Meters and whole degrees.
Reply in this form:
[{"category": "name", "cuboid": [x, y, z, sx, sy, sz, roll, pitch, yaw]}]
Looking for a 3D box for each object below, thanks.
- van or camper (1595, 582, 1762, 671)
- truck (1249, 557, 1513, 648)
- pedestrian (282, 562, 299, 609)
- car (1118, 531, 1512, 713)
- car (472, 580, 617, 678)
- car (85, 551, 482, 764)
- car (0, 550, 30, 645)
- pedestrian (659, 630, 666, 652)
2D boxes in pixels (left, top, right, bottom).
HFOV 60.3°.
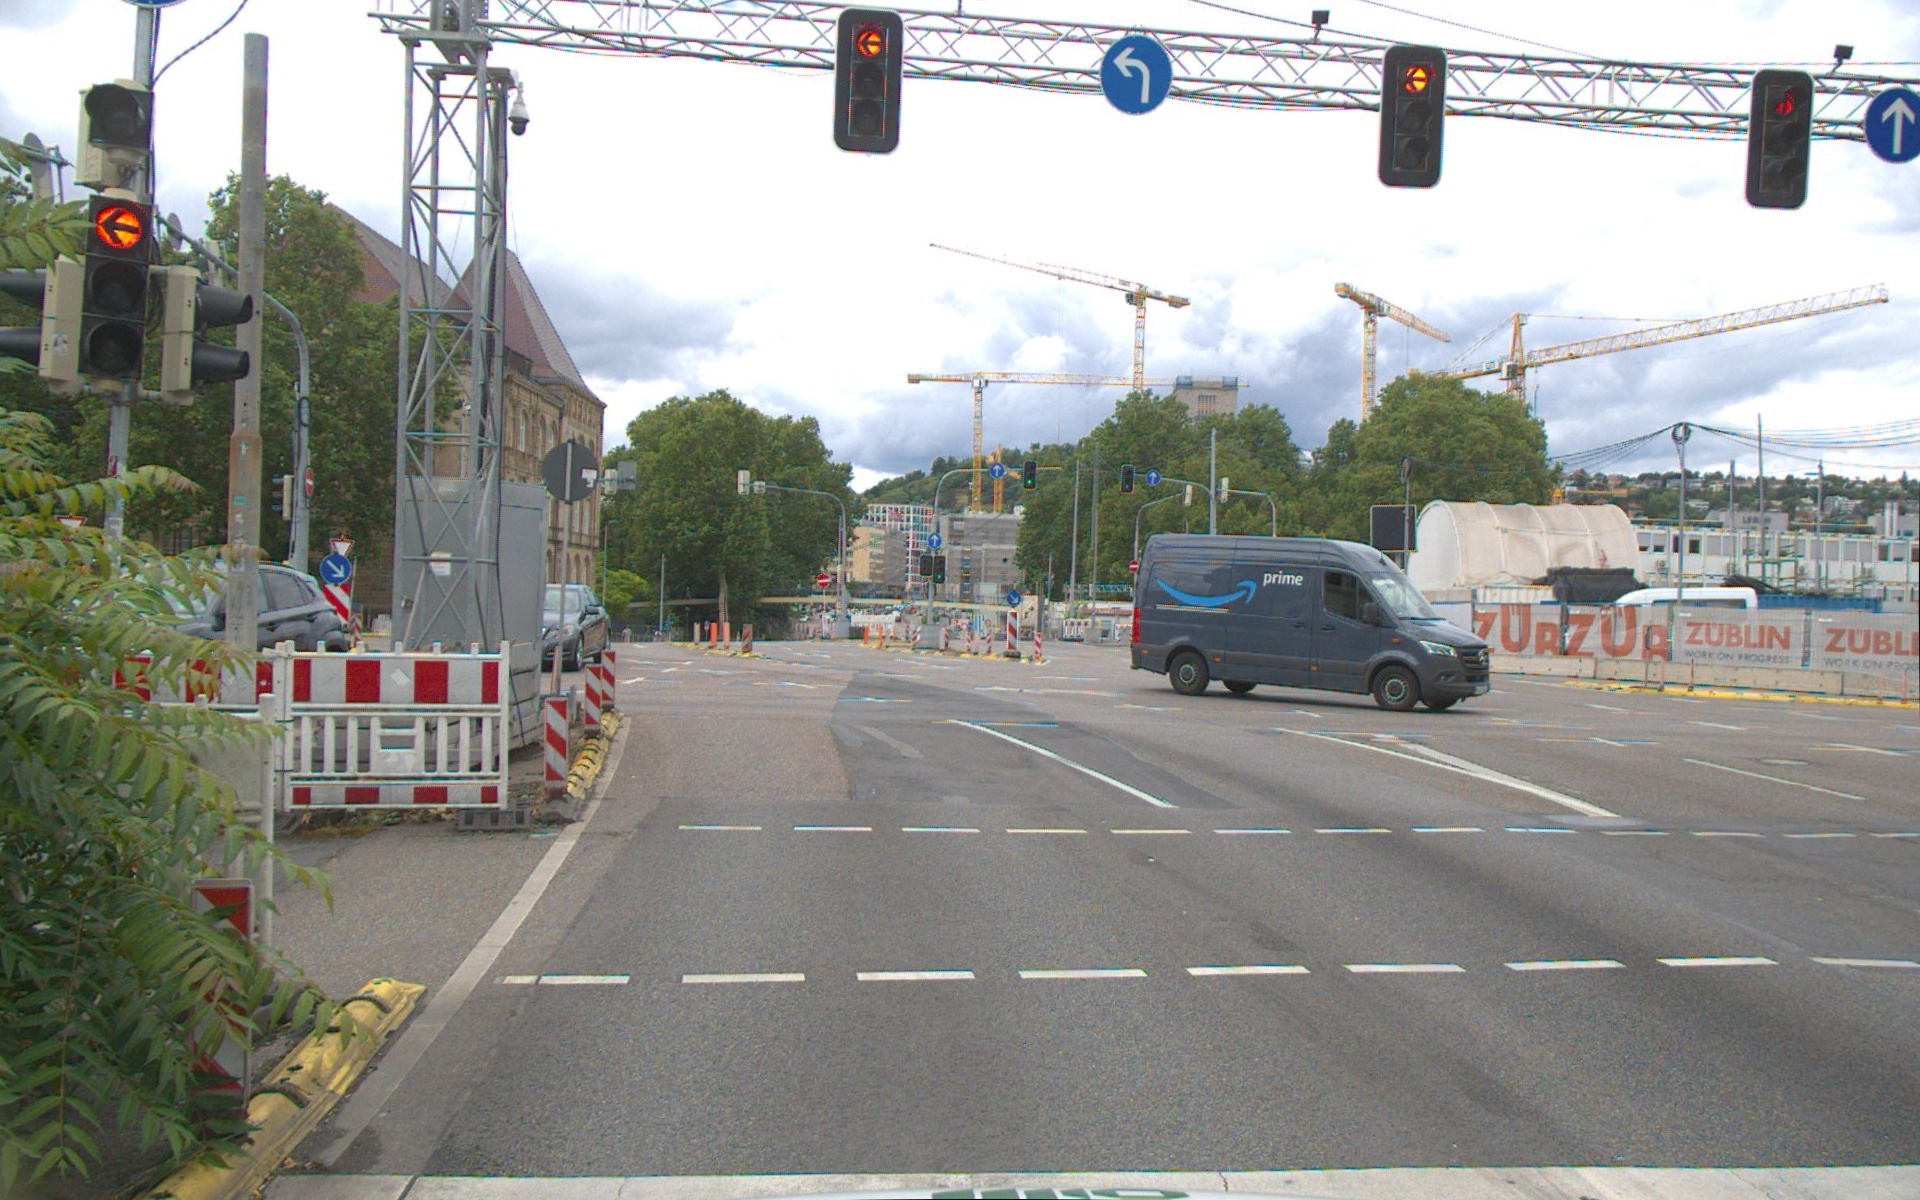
[{"category": "van or camper", "cuboid": [20.732, 0.744, 47.907, 4.123, 2.398, 2.002, 1, 0, 14]}, {"category": "truck", "cuboid": [20.993, 0.159, 82.316, 12.837, 4.111, 3.927, 1, 0, -21]}, {"category": "pedestrian", "cuboid": [-29.444, -0.618, 72.766, 0.523, 2.049, 0.421, 2, 0, -44]}, {"category": "car", "cuboid": [5.595, 0.255, 26.674, 5.900, 2.639, 2.054, 2, 0, 39]}, {"category": "car", "cuboid": [-7.162, 0.462, 28.880, 1.673, 1.540, 4.285, 2, 0, -4]}, {"category": "car", "cuboid": [-6.216, 0.452, 15.854, 1.839, 1.699, 4.445, 2, 0, 2]}, {"category": "car", "cuboid": [-19.256, -0.109, 29.452, 4.239, 1.705, 1.993, 2, 0, -14]}, {"category": "pedestrian", "cuboid": [-28.474, 3.943, 158.117, 0.513, 2.049, 0.566, 1, 0, -1]}]
